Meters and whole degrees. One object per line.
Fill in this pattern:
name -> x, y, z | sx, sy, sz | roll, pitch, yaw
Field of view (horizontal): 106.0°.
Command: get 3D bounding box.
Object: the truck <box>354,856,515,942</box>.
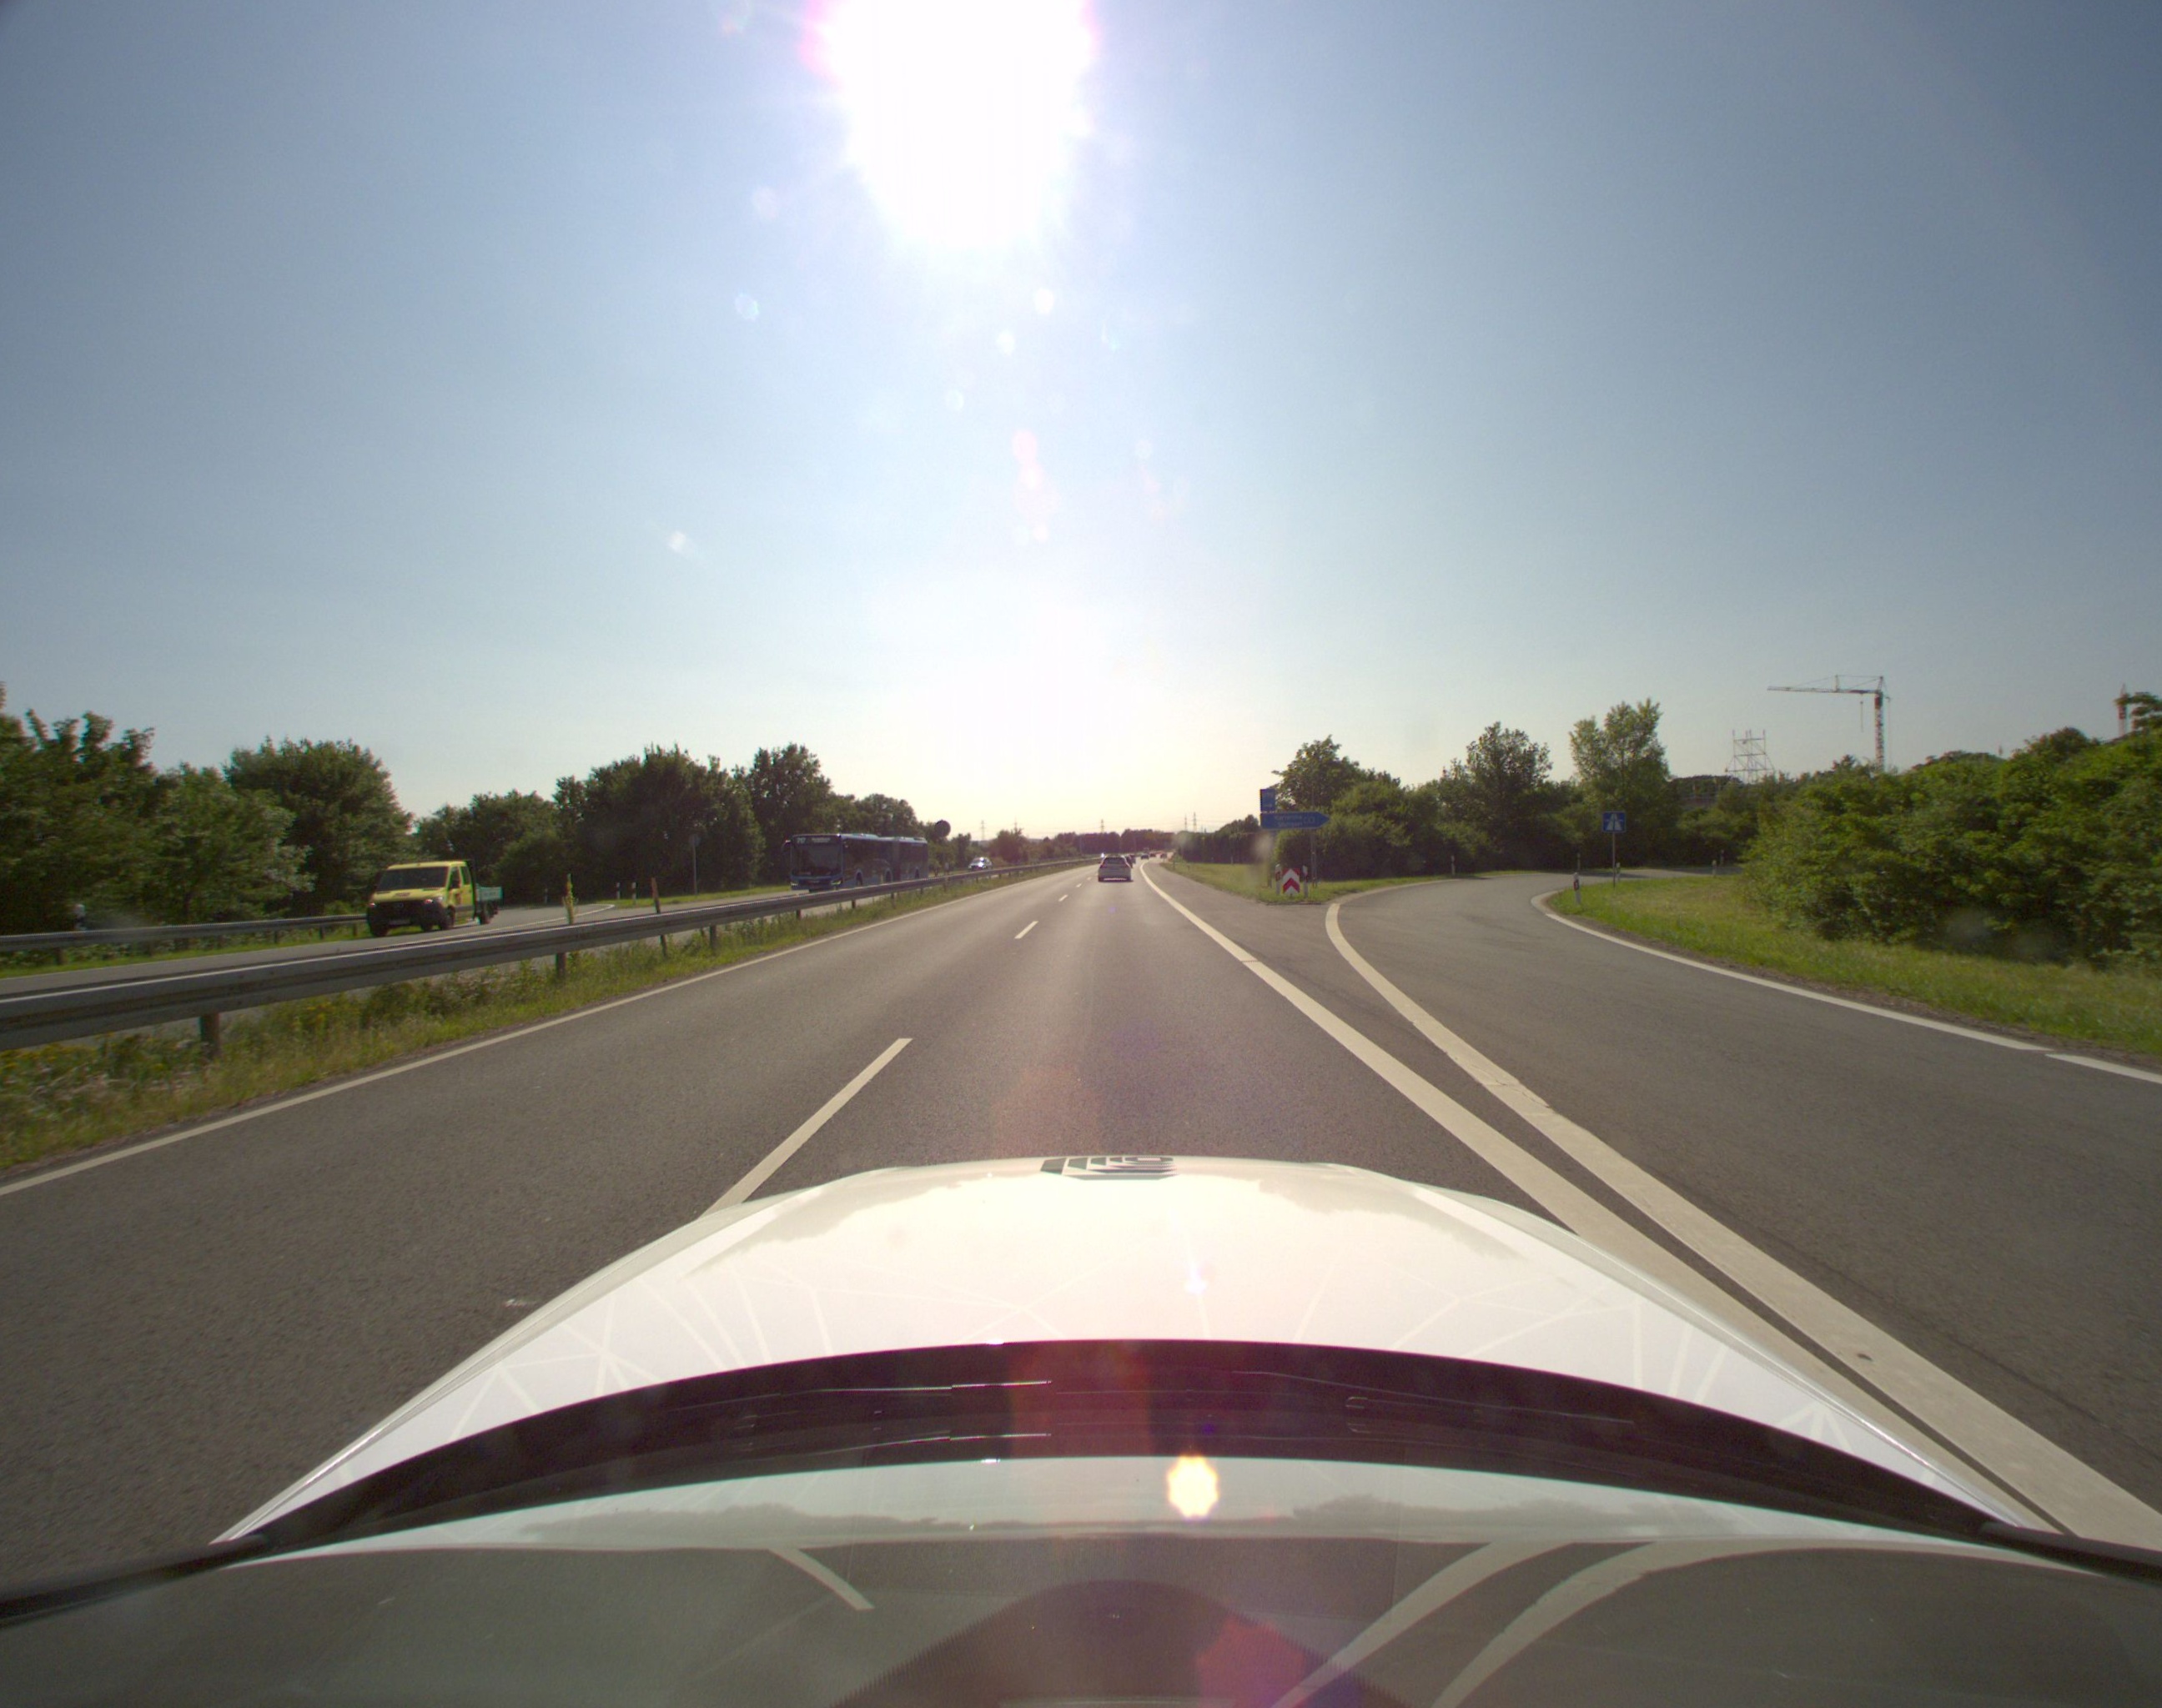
truck -> -22.043, 1.451, 28.199 | 2.133, 2.453, 6.574 | -4, 0, -19

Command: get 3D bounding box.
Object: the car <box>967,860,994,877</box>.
car -> -10.249, 1.444, 82.975 | 1.985, 1.605, 4.277 | -1, 1, 3

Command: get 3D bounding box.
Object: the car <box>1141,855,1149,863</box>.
car -> 15.246, 1.217, 194.620 | 1.831, 1.802, 4.007 | -1, 0, 7

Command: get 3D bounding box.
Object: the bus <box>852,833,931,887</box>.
bus -> -12.022, 0.368, 52.442 | 2.715, 3.110, 8.398 | -2, 0, 2

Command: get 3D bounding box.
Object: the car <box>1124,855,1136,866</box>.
car -> 7.979, 1.018, 131.549 | 1.760, 1.736, 3.638 | -1, 0, 6

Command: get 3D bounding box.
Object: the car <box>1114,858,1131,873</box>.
car -> 4.601, 1.232, 90.479 | 1.785, 1.543, 3.675 | -1, 0, 3

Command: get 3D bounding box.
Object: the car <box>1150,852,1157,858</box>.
car -> 20.527, 0.169, 231.546 | 1.832, 1.698, 4.007 | -1, 0, 6

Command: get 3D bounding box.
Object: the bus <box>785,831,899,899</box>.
bus -> -12.374, 0.510, 43.325 | 2.715, 3.110, 9.840 | -2, 0, 2

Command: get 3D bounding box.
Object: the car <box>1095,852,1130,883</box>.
car -> 1.824, 0.743, 47.223 | 1.951, 1.601, 4.109 | -1, 1, 2
